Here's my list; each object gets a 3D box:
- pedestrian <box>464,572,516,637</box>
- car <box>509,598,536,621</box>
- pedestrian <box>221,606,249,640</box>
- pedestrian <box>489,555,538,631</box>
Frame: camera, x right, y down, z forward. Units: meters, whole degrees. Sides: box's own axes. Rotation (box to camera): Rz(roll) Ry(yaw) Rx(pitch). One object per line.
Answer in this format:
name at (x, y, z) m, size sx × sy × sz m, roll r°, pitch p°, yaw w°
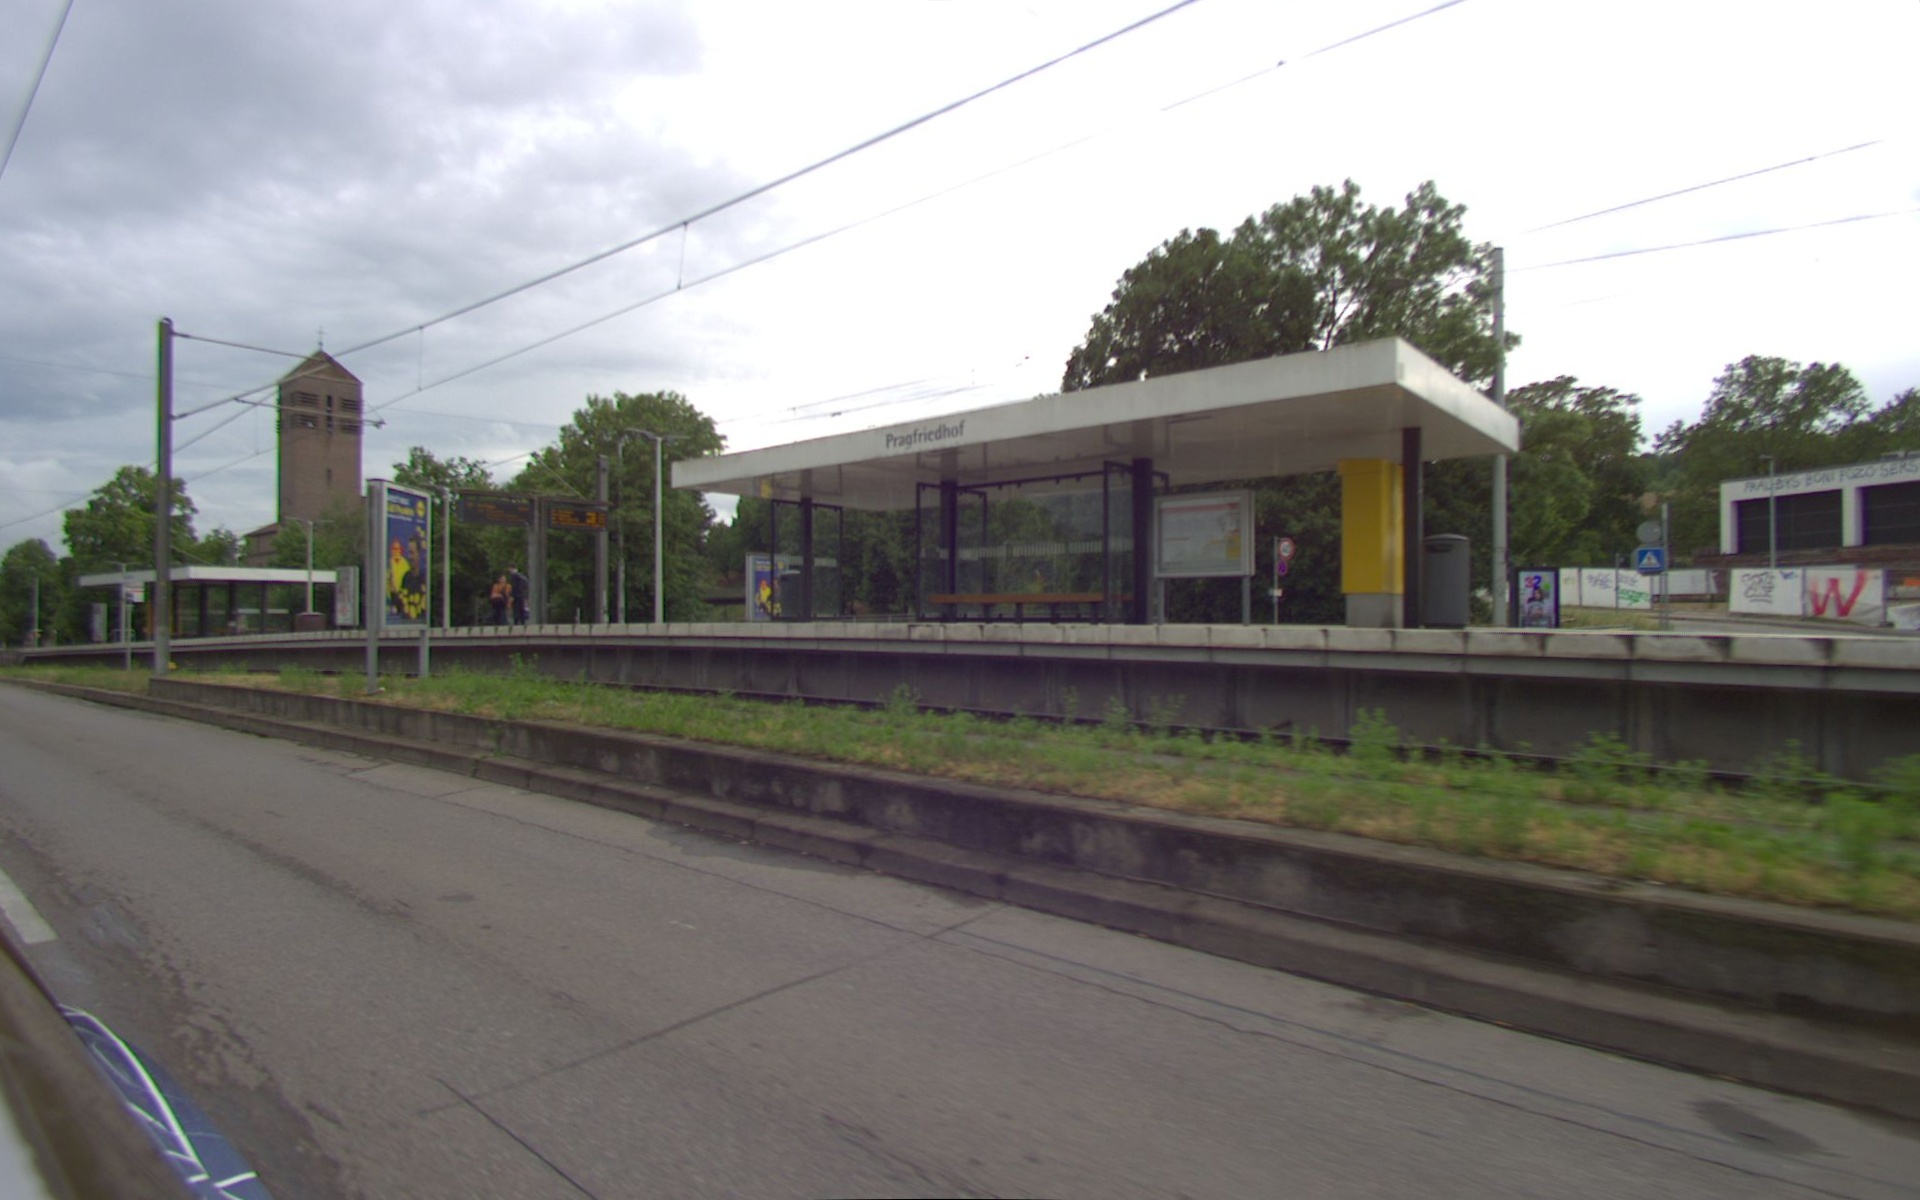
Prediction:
pedestrian at (-12.649, 0.123, 27.265) m, size 0.911 × 1.659 × 0.792 m, roll -4°, pitch -1°, yaw 19°
car at (-40.601, 0.871, 94.009) m, size 1.965 × 2.029 × 4.013 m, roll -2°, pitch 1°, yaw -20°
pedestrian at (-27.182, 0.849, 37.958) m, size 0.619 × 1.235 × 0.703 m, roll -3°, pitch -2°, yaw 39°
pedestrian at (-11.835, -0.184, 26.847) m, size 0.835 × 1.924 × 0.741 m, roll -4°, pitch -1°, yaw 19°
